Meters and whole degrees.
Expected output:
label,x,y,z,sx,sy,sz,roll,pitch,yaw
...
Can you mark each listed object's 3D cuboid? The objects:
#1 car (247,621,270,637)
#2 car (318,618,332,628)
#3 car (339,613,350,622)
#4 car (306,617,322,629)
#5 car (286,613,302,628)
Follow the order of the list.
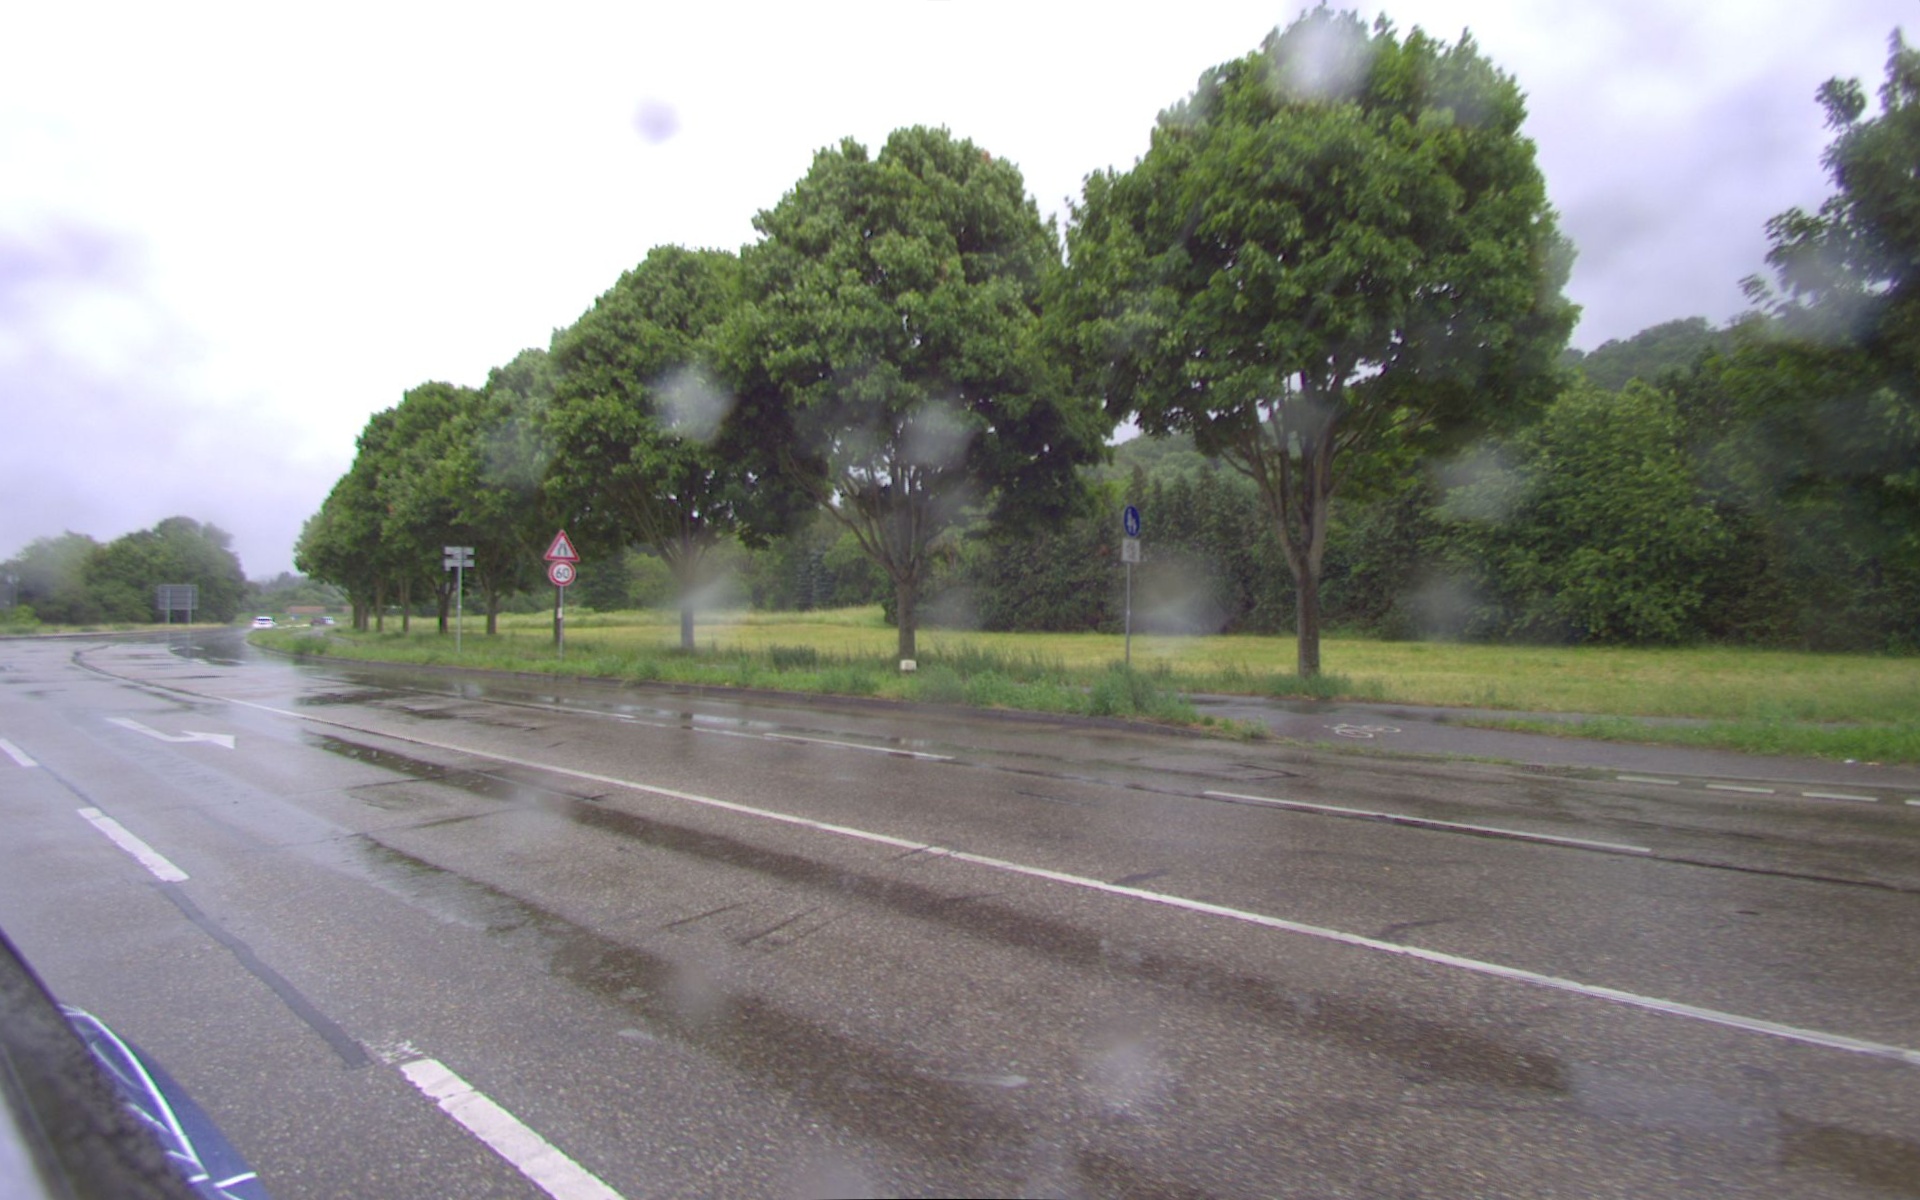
label,x,y,z,sx,sy,sz,roll,pitch,yaw
car,-73.695,3.040,106.291,1.854,1.585,4.655,2,-2,-36
car,-100.433,3.666,160.062,1.715,1.498,4.022,2,-2,-33
car,-125.475,3.637,206.203,1.897,1.756,4.301,2,-2,-31
car,-93.351,3.264,146.180,1.859,1.599,4.129,-2,1,-34
car,-96.673,2.979,146.951,1.715,2.006,4.022,2,-2,-31
